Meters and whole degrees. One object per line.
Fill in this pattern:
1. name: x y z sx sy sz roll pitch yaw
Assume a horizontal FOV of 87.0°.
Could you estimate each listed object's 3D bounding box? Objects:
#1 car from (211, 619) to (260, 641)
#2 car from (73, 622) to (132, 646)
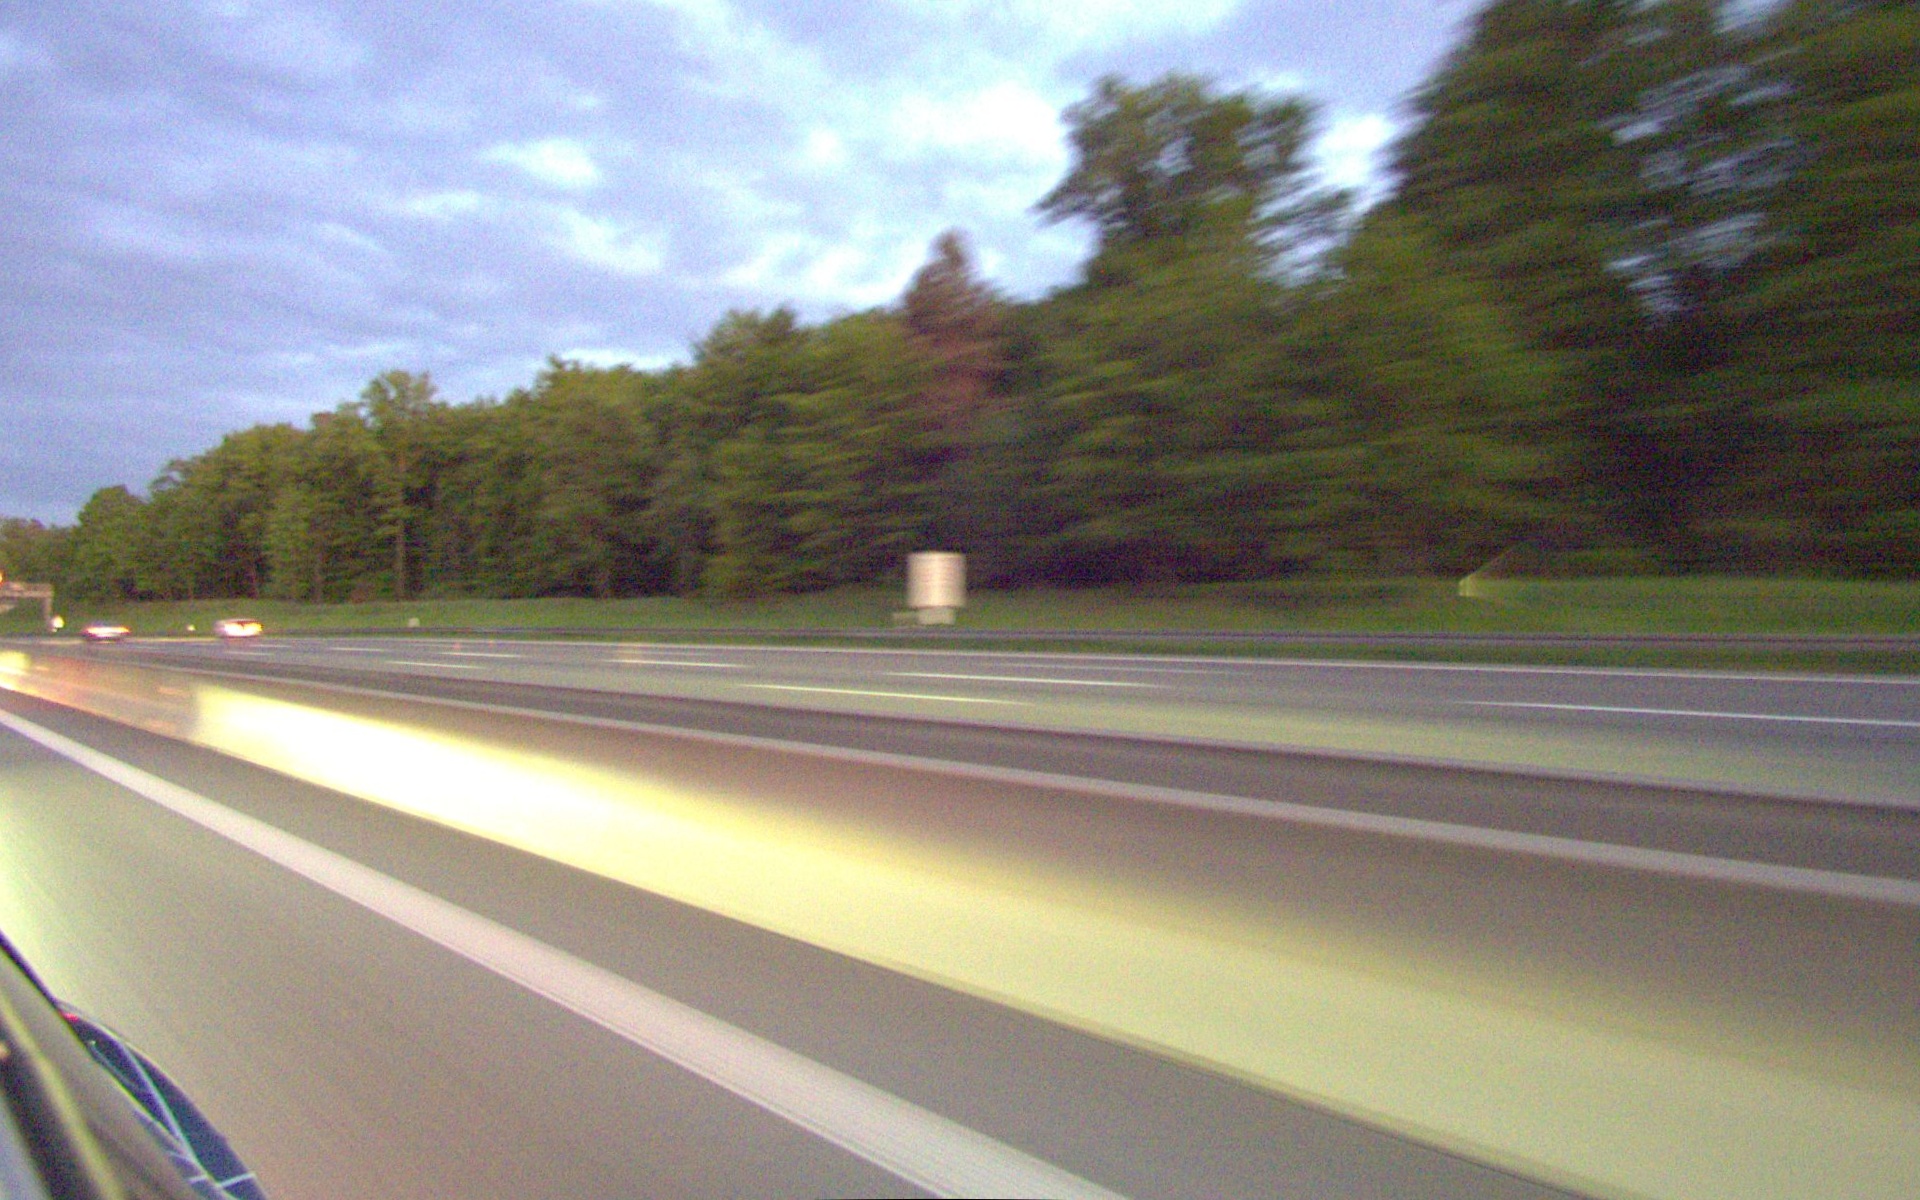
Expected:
1. car: -51.101 2.112 71.379 3.996 1.474 1.824 -2 0 39
2. car: -57.060 2.252 67.341 4.764 1.474 1.827 -2 0 35
